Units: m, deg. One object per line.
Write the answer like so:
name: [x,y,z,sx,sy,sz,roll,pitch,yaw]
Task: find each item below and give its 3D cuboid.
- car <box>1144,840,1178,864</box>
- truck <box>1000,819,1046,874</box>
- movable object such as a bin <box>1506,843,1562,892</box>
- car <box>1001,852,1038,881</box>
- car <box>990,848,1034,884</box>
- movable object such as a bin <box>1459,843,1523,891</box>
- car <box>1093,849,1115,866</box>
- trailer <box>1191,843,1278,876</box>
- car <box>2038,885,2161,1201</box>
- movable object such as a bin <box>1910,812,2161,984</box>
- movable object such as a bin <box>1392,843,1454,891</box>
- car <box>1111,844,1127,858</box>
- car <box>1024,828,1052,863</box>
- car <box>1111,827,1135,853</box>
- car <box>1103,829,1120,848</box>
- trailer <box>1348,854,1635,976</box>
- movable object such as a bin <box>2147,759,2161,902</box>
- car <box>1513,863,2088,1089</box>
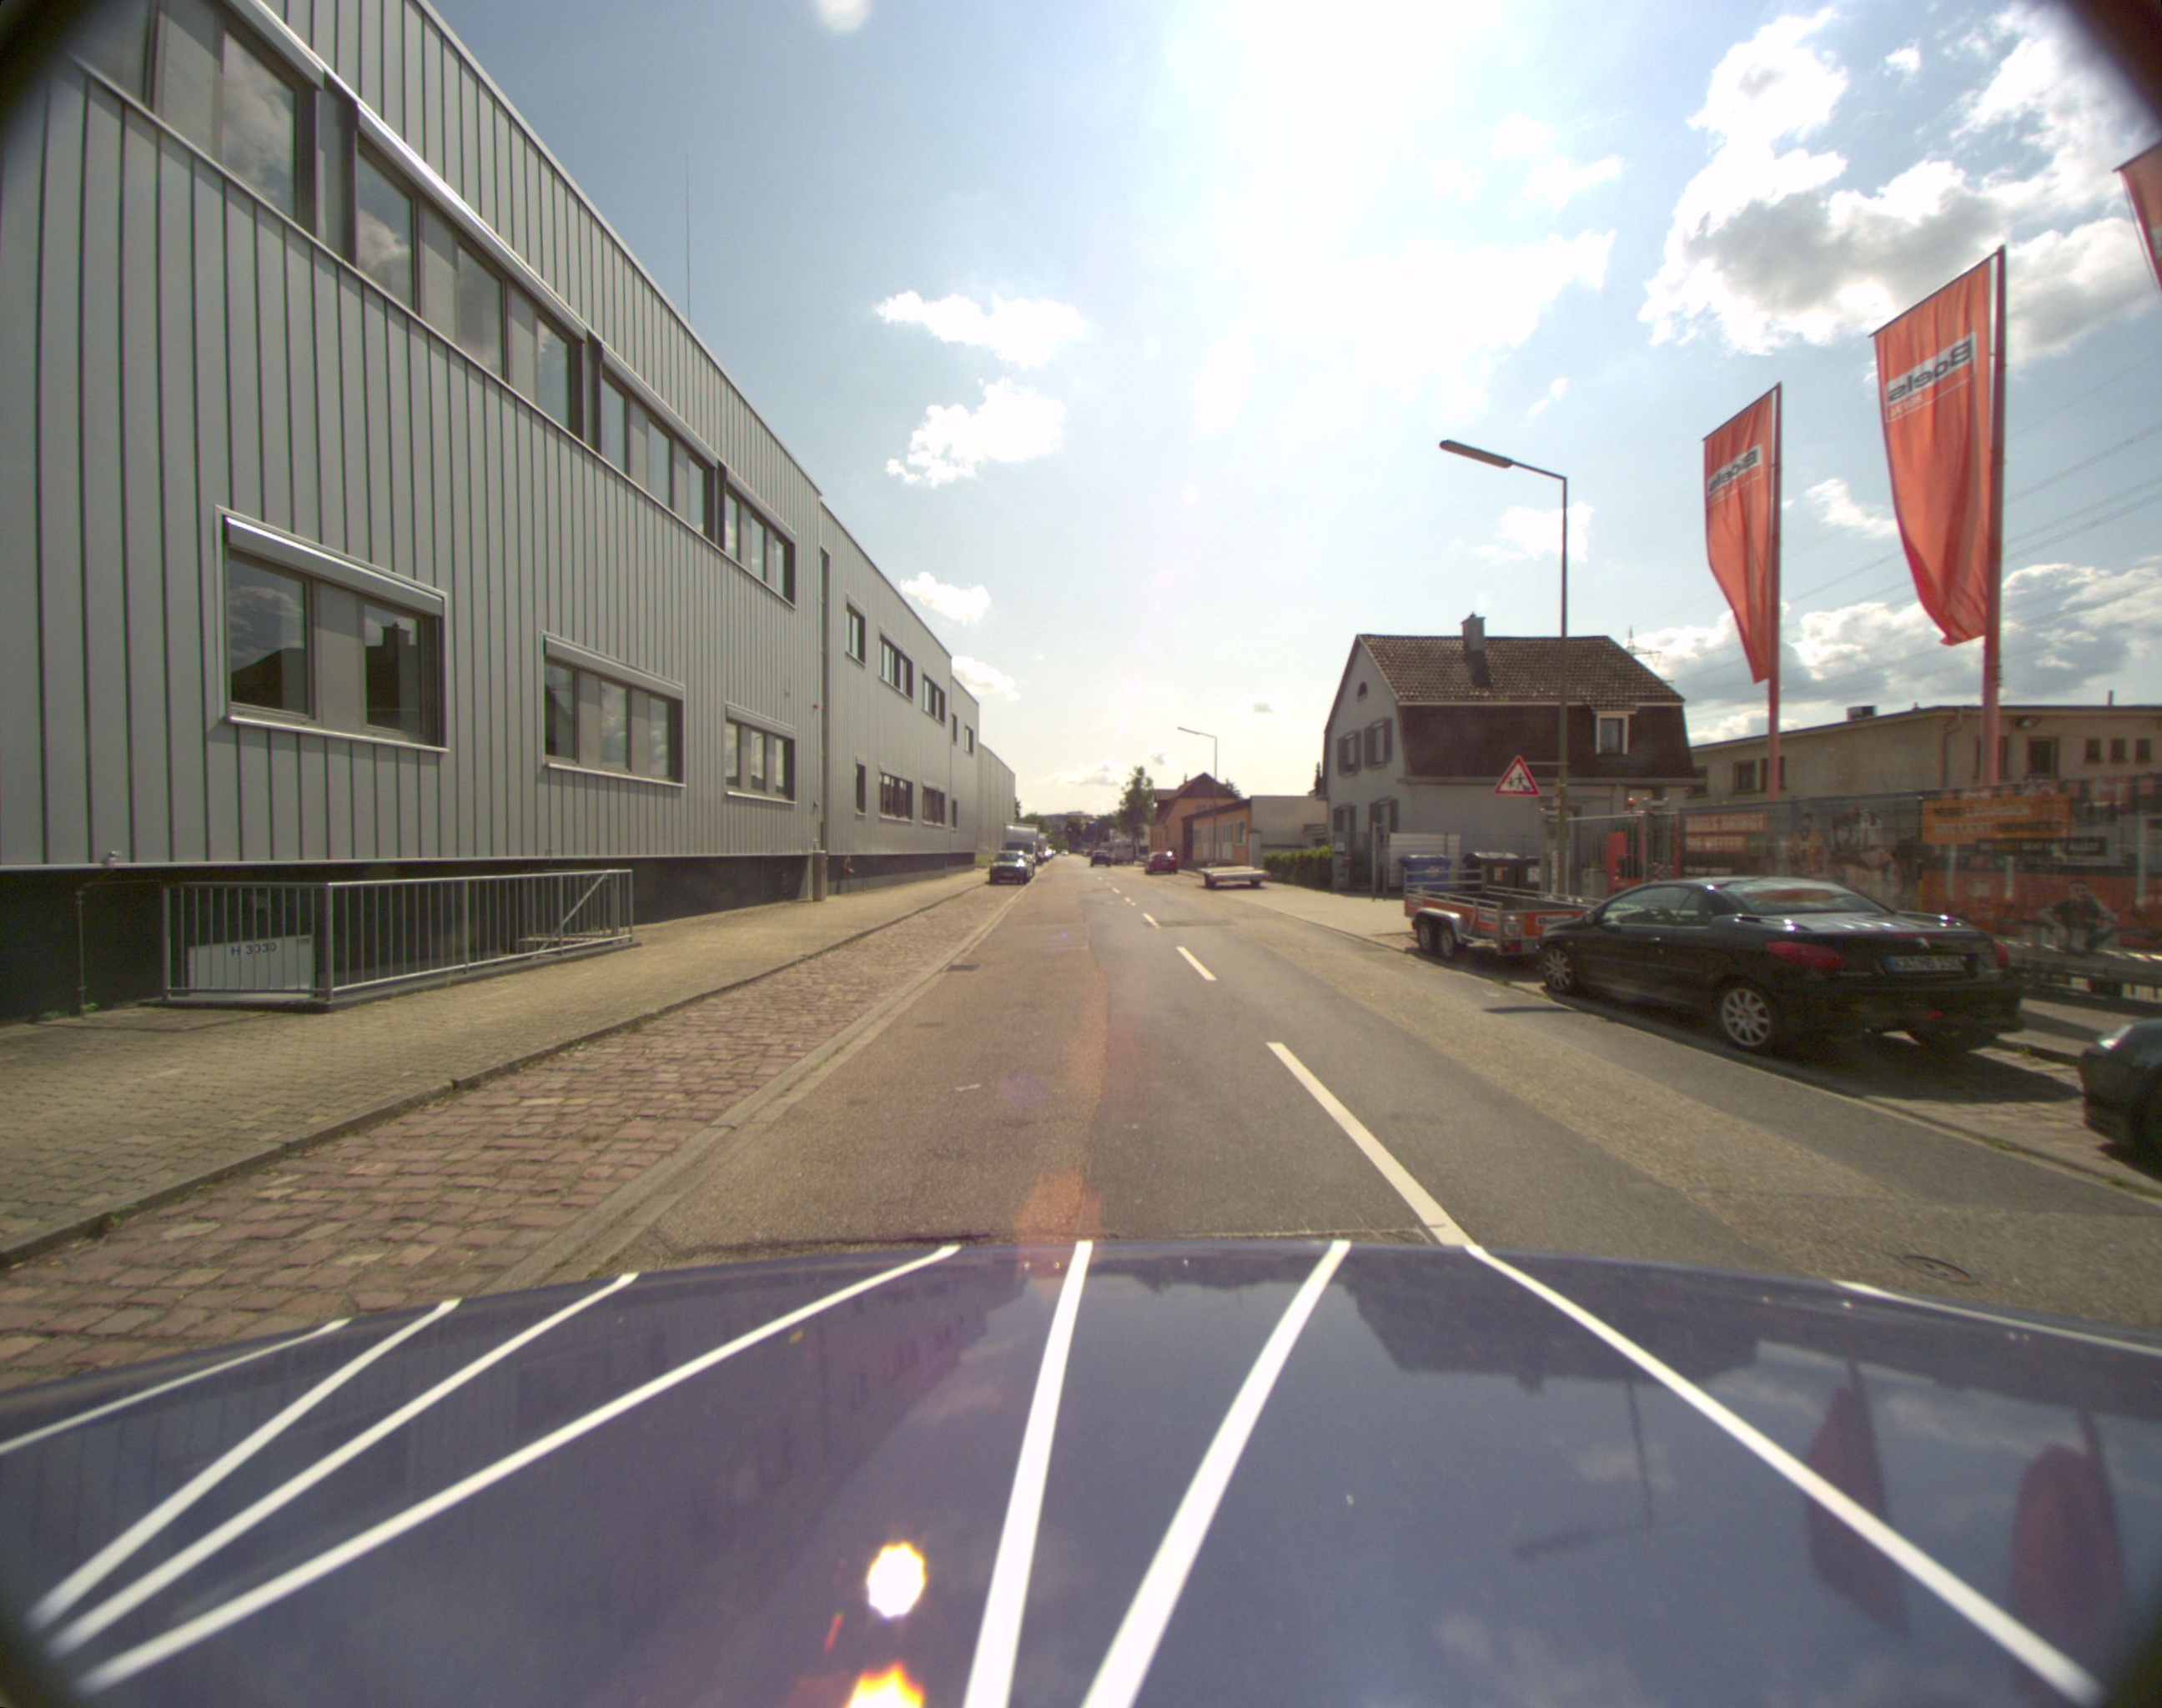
car: [5.240,-0.180,50.202,1.714,1.459,4.628,-3,1,0]
truck: [-3.785,-0.553,50.101,2.608,3.207,8.073,-3,1,-4]
movable object such as a bin: [13.896,0.400,23.323,1.089,1.435,1.004,0,2,-1]
car: [-3.421,0.649,43.032,1.714,1.425,4.255,-3,1,-1]
car: [-3.268,0.544,36.684,1.714,1.502,4.113,-3,1,-1]
movable object such as a bin: [12.604,0.381,23.394,1.319,1.419,1.151,0,1,-4]
car: [2.040,0.273,68.356,1.739,1.434,3.998,1,1,-2]
trailer: [6.301,0.170,32.042,2.457,1.157,6.051,-2,1,1]
car: [5.901,0.926,1.914,1.677,1.447,4.223,-2,1,1]
movable object such as a bin: [15.623,0.435,10.202,7.621,1.993,1.904,-1,1,-6]
movable object such as a bin: [10.488,0.394,23.344,1.319,1.419,1.188,0,1,-4]
car: [4.429,-0.344,89.223,1.658,1.483,3.715,-3,1,-1]
car: [-4.497,-0.934,80.455,2.419,3.270,6.895,6,1,-1]
car: [4.447,-1.512,81.666,2.079,2.527,5.822,-3,1,-1]
car: [4.296,-2.177,108.672,1.999,2.557,5.822,-3,1,-1]
trailer: [5.996,0.756,11.969,1.772,1.369,5.049,-2,1,0]
movable object such as a bin: [30.157,-0.579,18.611,3.998,3.714,2.917,0,2,-3]
car: [5.996,0.853,7.103,1.677,1.369,3.883,-2,1,0]
